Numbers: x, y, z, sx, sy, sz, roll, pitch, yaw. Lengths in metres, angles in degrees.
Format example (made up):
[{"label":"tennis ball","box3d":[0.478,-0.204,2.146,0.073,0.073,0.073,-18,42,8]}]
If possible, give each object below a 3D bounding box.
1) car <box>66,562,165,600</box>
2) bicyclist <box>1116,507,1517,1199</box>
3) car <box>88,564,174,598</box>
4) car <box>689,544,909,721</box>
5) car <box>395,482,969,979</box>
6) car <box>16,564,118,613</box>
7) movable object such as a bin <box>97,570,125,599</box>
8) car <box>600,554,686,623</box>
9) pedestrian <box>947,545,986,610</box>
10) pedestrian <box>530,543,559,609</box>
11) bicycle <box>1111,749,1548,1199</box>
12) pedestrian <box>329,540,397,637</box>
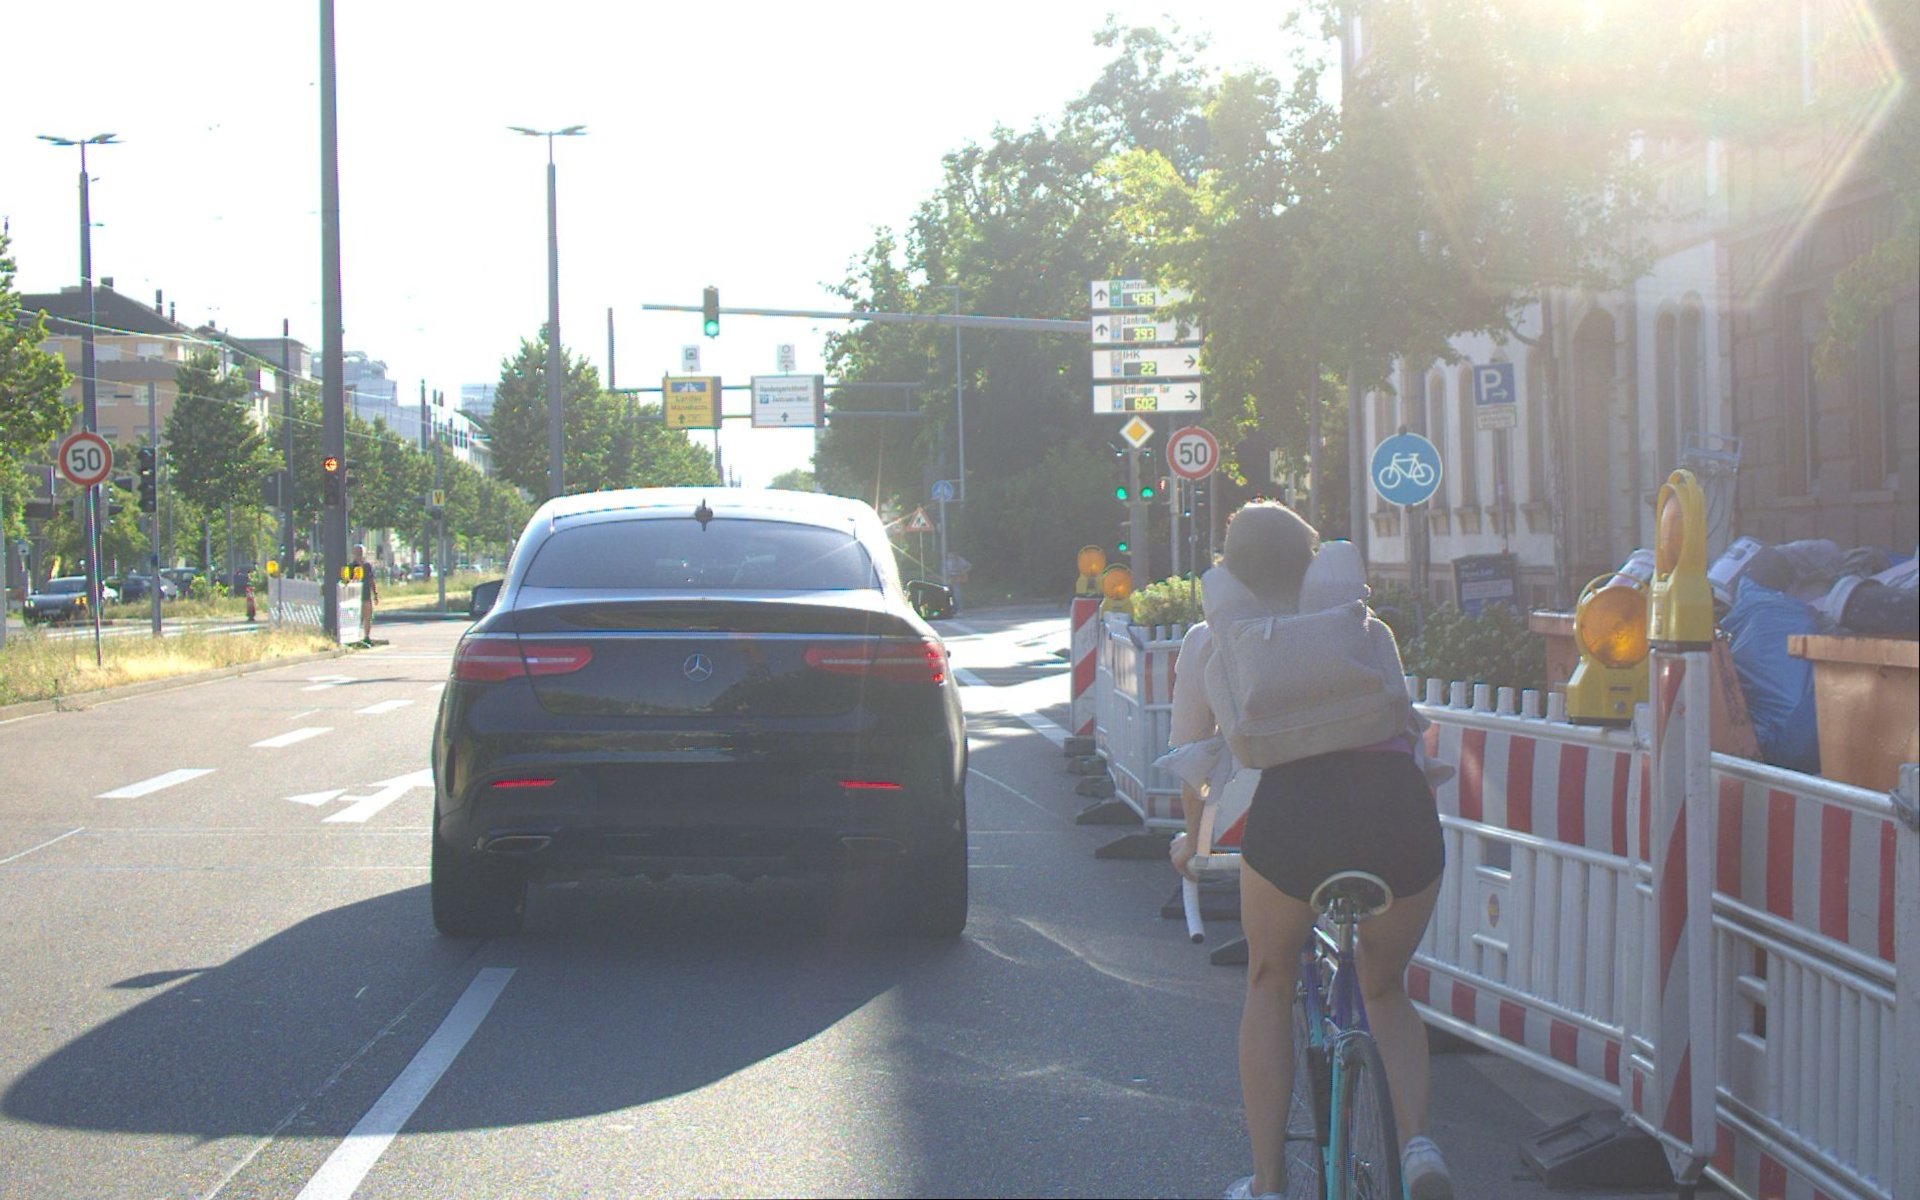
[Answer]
[{"label":"car","box3d":[-39.205,-0.878,159.643,4.085,1.595,1.749,1,1,-43]},{"label":"bicyclist","box3d":[0.617,0.582,6.206,0.552,1.486,1.081,-1,1,-2]},{"label":"car","box3d":[-39.327,-0.906,163.197,3.615,1.518,1.620,1,0,-43]},{"label":"car","box3d":[-1.498,0.252,31.884,1.897,1.522,4.059,0,1,-3]},{"label":"car","box3d":[-1.073,0.404,13.996,1.993,1.728,4.001,0,1,-3]},{"label":"car","box3d":[-25.769,-0.360,99.351,1.891,1.339,4.851,-1,1,-3]},{"label":"movable object such as a bin","box3d":[-38.107,-0.717,154.373,0.858,1.276,0.939,-1,1,12]},{"label":"car","box3d":[-7.572,-0.292,82.427,1.885,1.575,4.001,0,1,-3]},{"label":"pedestrian","box3d":[0.169,-0.581,88.376,0.766,1.631,0.770,-3,1,-12]},{"label":"pedestrian","box3d":[-10.755,-0.631,88.943,0.598,1.693,0.714,-1,1,3]},{"label":"bicycle","box3d":[0.614,0.881,6.223,0.520,1.093,1.843,-1,1,-2]},{"label":"pedestrian","box3d":[-10.199,-0.200,58.743,0.924,1.643,0.765,-1,1,10]}]
